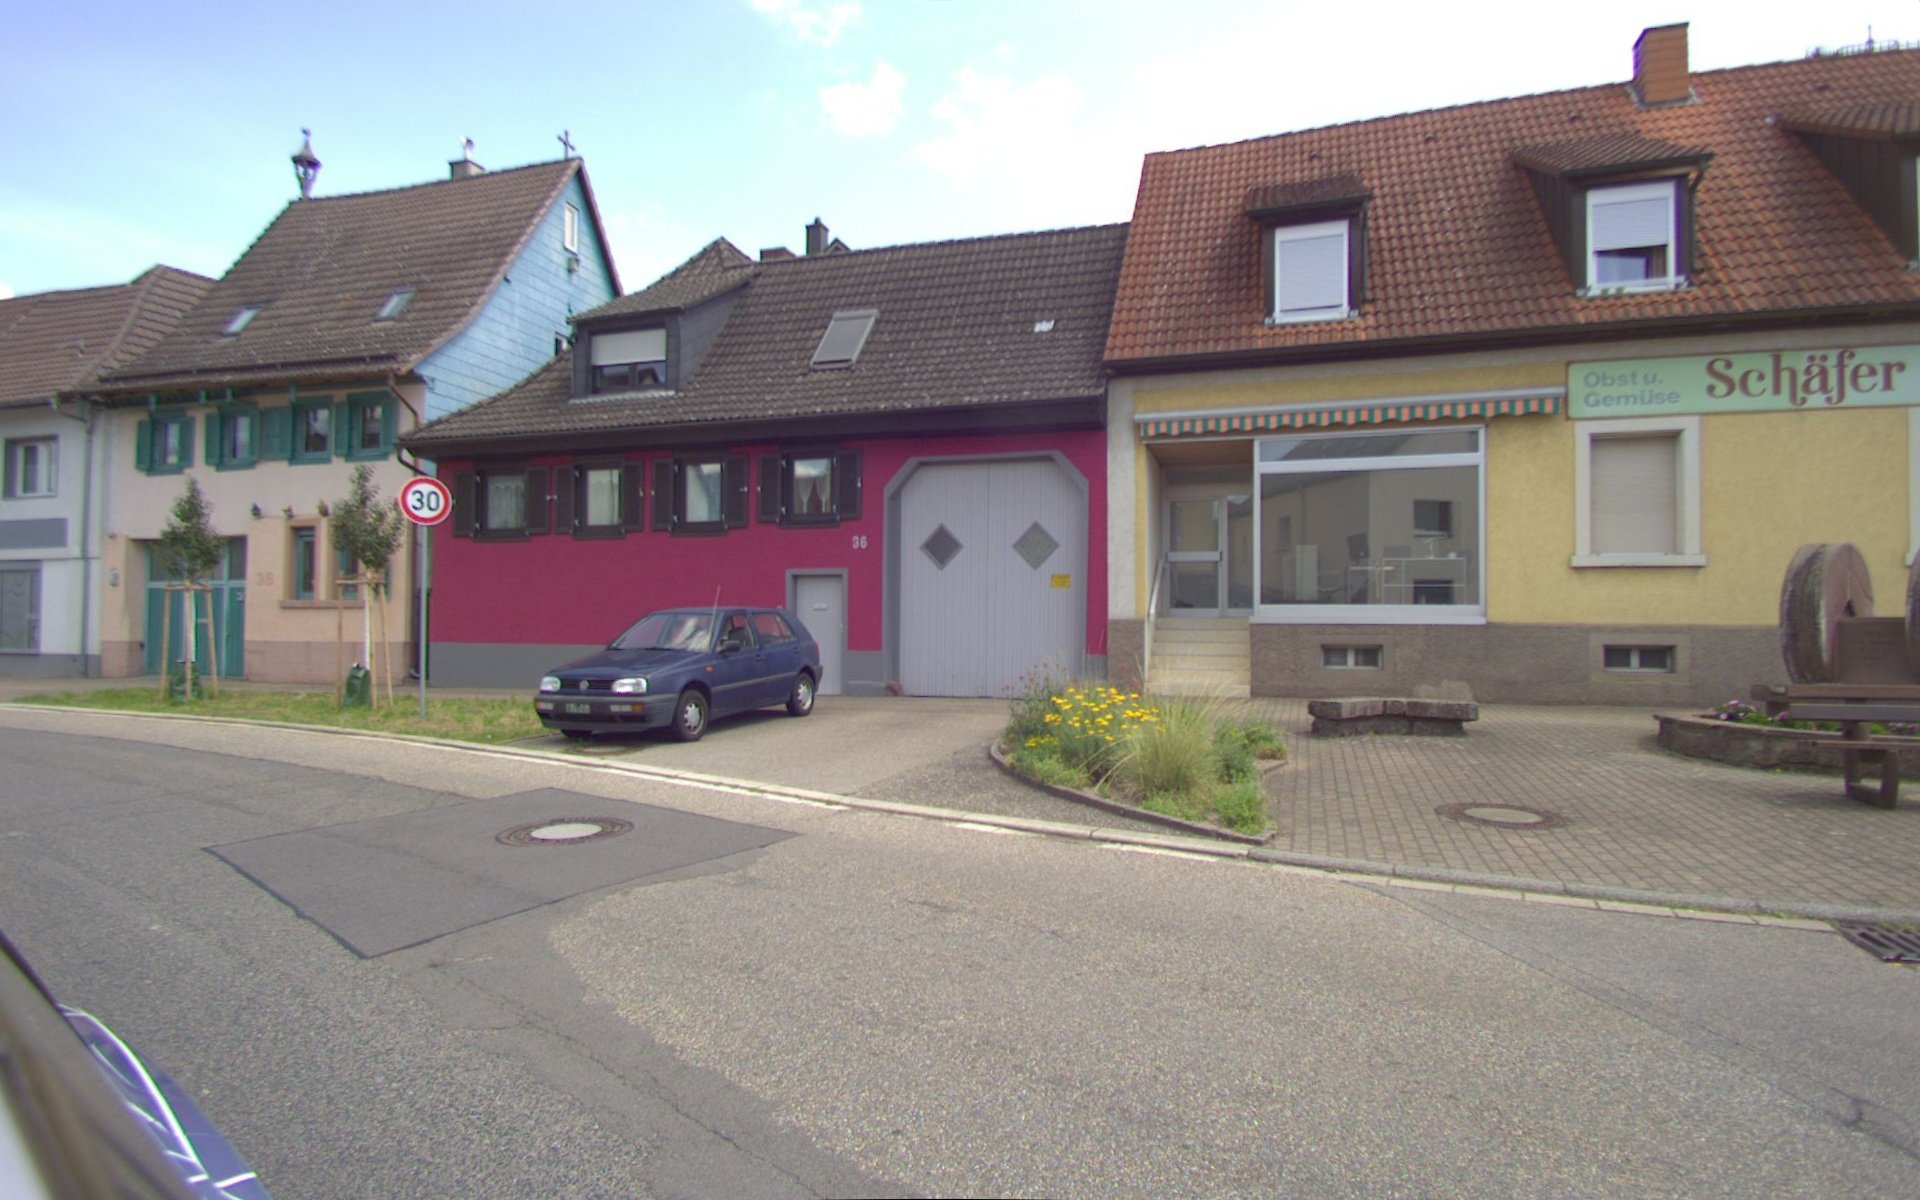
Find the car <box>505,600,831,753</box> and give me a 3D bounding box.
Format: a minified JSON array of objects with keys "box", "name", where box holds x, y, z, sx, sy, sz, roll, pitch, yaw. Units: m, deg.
[{"box":[-3.182,0.741,11.902,1.708,1.475,3.953,0,0,20],"name":"car"}]
